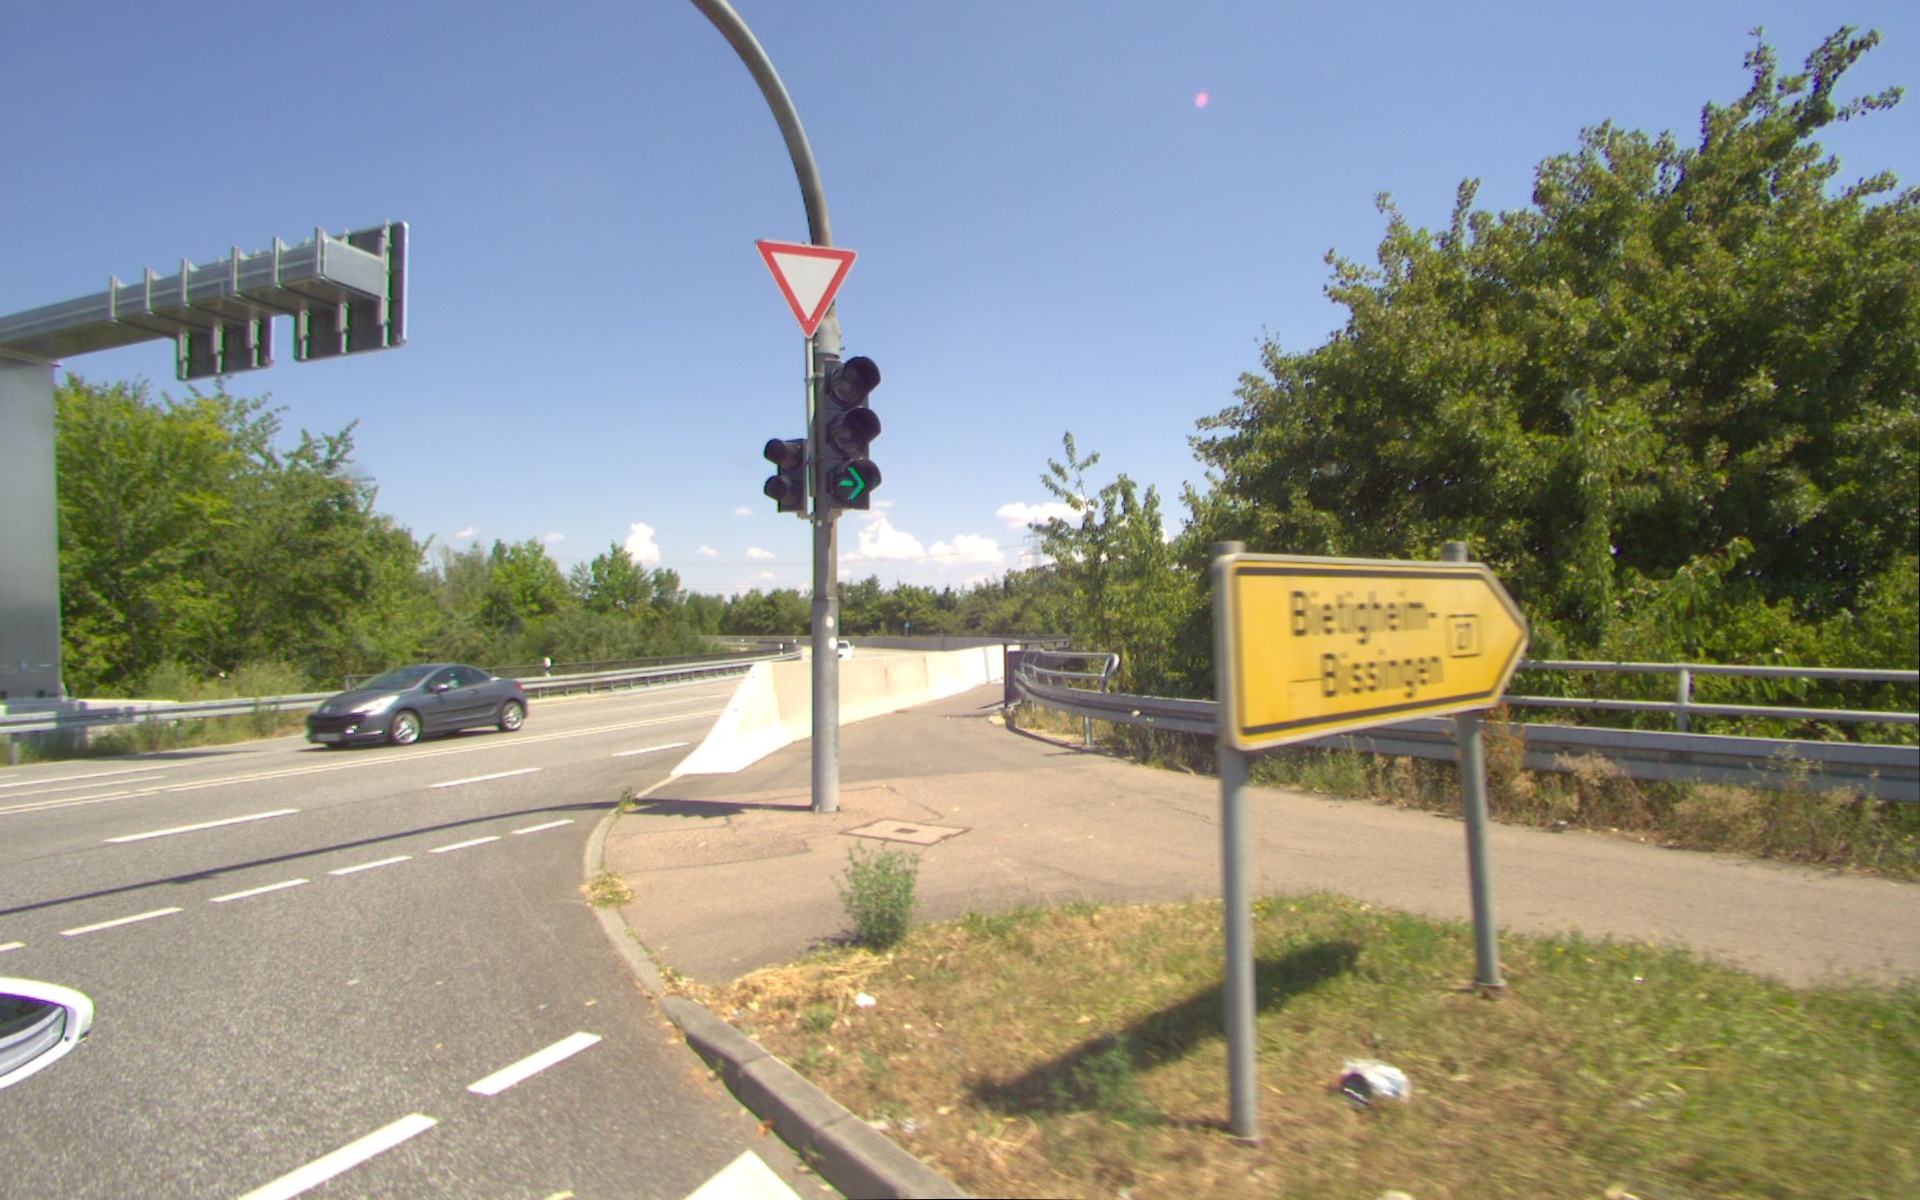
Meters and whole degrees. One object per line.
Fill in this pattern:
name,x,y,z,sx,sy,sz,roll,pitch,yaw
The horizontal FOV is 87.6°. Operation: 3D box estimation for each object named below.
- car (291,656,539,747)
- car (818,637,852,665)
car,-9.868,1.801,18.489,1.622,1.368,3.963,-4,-3,18
car,-7.570,3.097,60.524,1.809,1.502,4.838,-3,-3,-9
